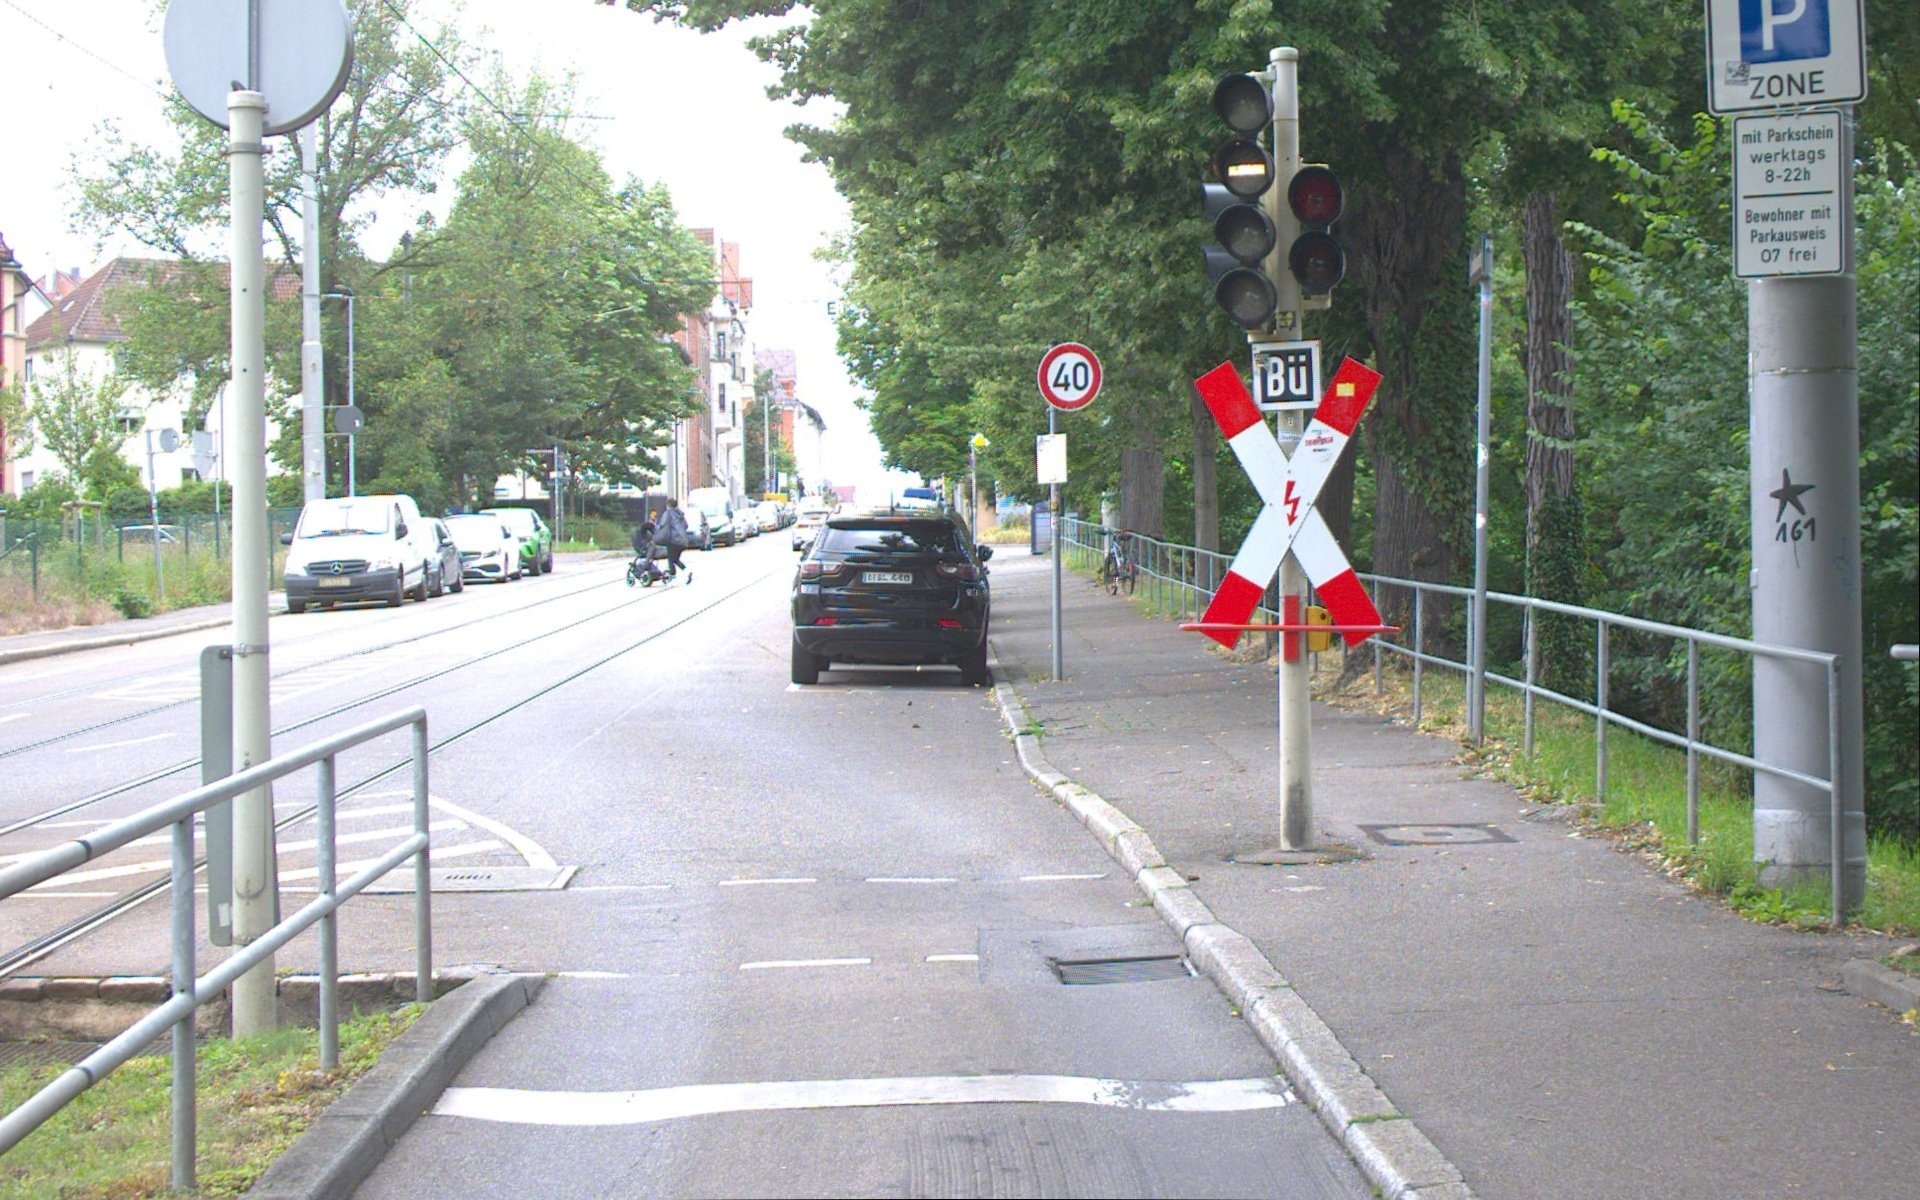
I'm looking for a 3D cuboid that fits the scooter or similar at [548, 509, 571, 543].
[{"bbox_3d":[-15.571,-2.866,133.632,0.691,1.334,1.639,0,1,1],"label":"scooter or similar"}]

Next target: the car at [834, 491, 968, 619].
[{"bbox_3d":[-0.863,-0.671,48.317,1.726,1.626,4.089,3,2,-2],"label":"car"}]

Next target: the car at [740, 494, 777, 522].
[{"bbox_3d":[-11.526,-5.257,197.065,1.924,1.596,4.000,0,1,0],"label":"car"}]

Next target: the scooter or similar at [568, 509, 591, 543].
[{"bbox_3d":[-14.781,-2.872,133.681,0.691,1.334,1.639,0,1,1],"label":"scooter or similar"}]

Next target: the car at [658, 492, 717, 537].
[{"bbox_3d":[-10.996,-3.438,138.757,1.993,1.802,4.000,0,1,1],"label":"car"}]

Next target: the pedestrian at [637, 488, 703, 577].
[{"bbox_3d":[-5.336,-1.240,63.310,0.915,1.623,0.806,1,1,37],"label":"pedestrian"}]

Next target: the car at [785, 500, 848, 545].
[{"bbox_3d":[-4.838,-2.608,116.162,1.993,1.493,4.312,0,1,-1],"label":"car"}]

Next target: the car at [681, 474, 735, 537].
[{"bbox_3d":[-11.202,-4.187,153.238,2.230,2.755,5.800,0,1,-3],"label":"car"}]

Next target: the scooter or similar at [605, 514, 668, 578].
[{"bbox_3d":[-6.001,-1.005,63.846,0.838,1.192,0.806,1,1,37],"label":"scooter or similar"}]

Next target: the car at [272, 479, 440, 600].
[{"bbox_3d":[-10.213,-1.027,58.465,2.035,1.875,4.886,-3,1,-2],"label":"car"}]

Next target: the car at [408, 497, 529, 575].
[{"bbox_3d":[-10.329,-1.365,72.521,1.885,1.520,4.664,-2,1,-1],"label":"car"}]

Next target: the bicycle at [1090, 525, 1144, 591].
[{"bbox_3d":[2.347,-0.642,51.560,0.427,0.972,1.795,0,1,-10],"label":"bicycle"}]

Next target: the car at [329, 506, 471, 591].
[{"bbox_3d":[-10.351,-0.978,63.808,1.896,1.427,4.512,-2,2,-1],"label":"car"}]

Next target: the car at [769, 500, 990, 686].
[{"bbox_3d":[-0.685,-0.128,32.517,1.904,1.609,4.600,1,2,1],"label":"car"}]

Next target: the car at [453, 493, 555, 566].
[{"bbox_3d":[-10.325,-1.616,78.103,1.723,1.574,4.181,-2,2,0],"label":"car"}]

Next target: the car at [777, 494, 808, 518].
[{"bbox_3d":[-11.517,-6.476,236.580,1.993,1.596,4.000,0,1,-1],"label":"car"}]
